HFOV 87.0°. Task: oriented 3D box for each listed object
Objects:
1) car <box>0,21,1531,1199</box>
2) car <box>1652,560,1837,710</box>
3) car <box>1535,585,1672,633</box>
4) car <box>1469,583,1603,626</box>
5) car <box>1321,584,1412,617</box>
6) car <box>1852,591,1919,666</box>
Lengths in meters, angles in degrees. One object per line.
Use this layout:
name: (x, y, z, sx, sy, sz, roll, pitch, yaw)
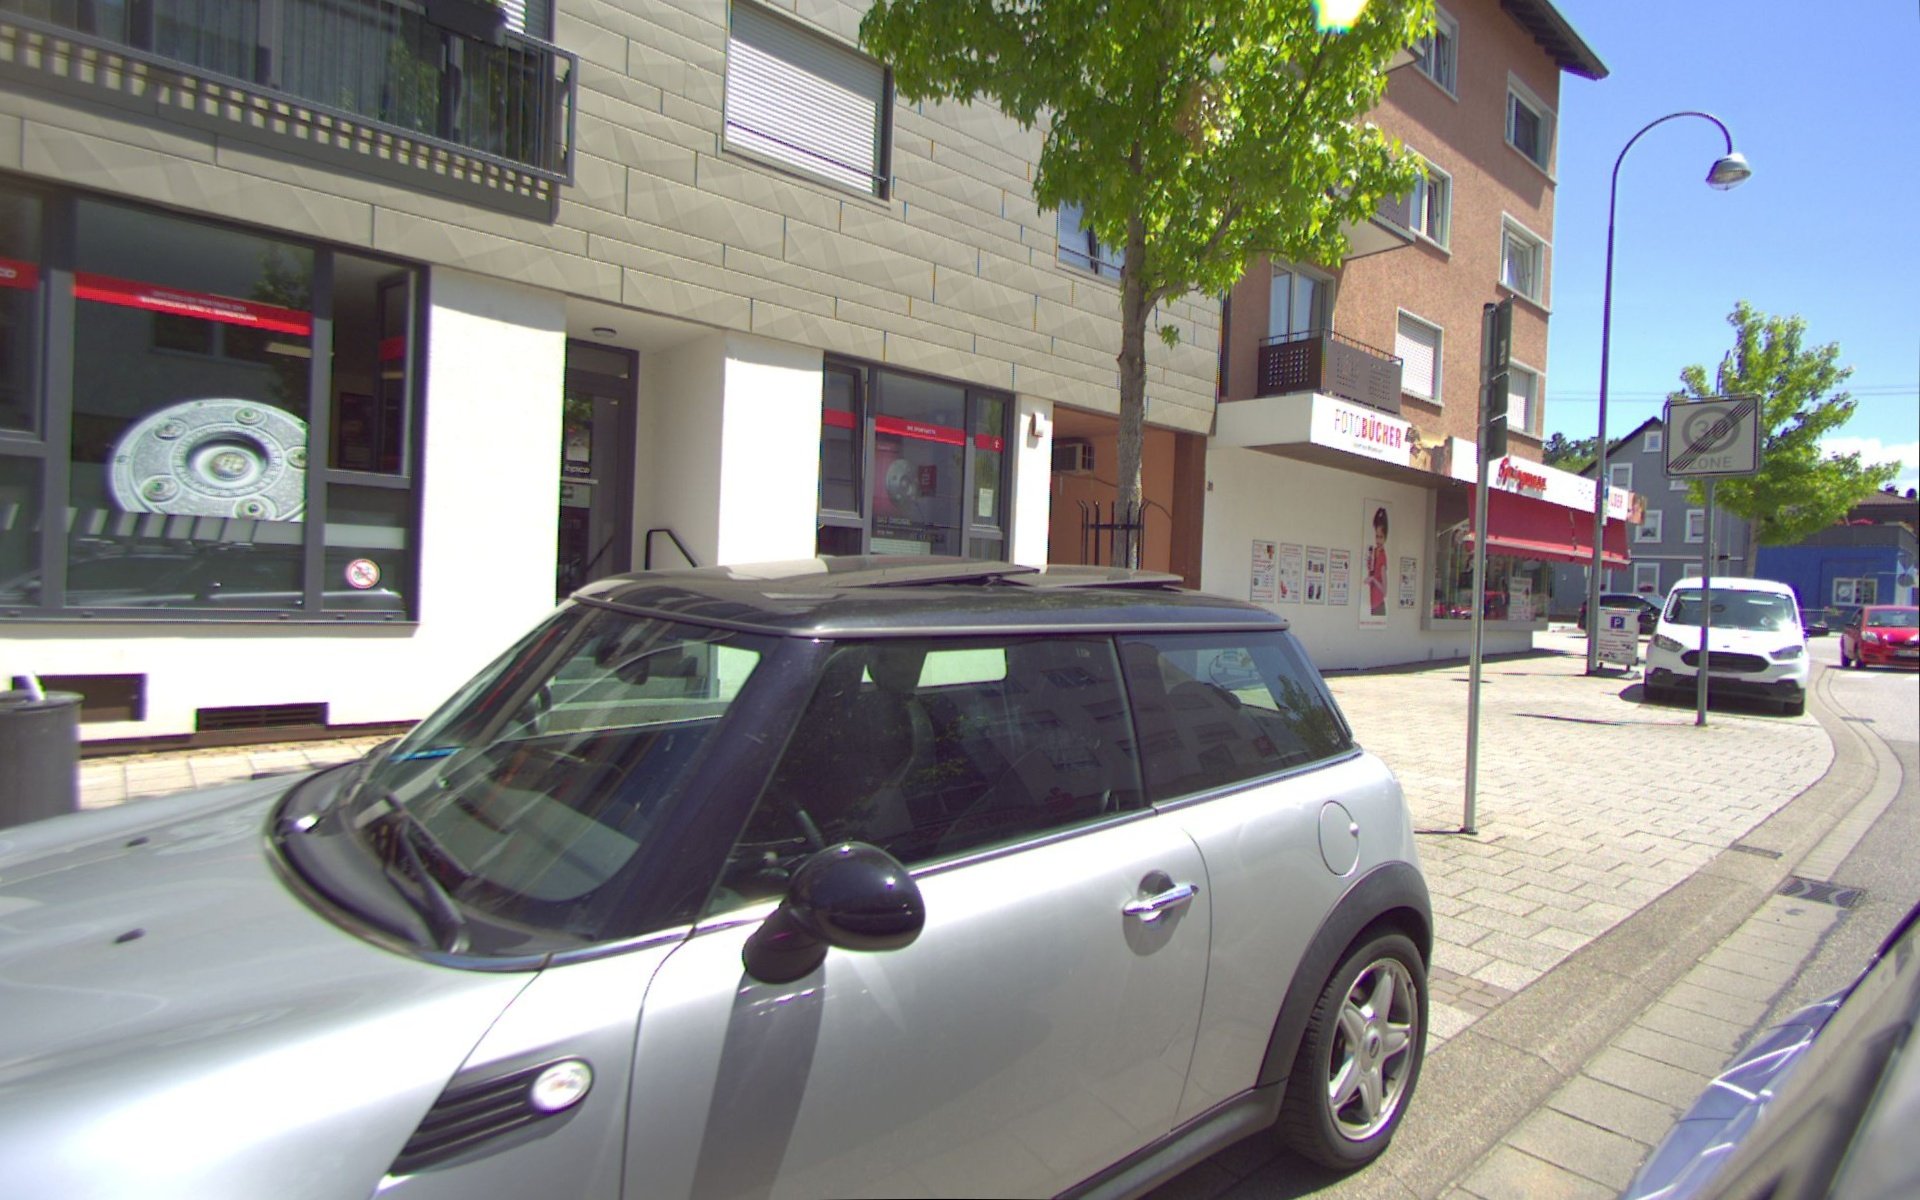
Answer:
car: (-0.338, 0.317, 2.244, 3.773, 1.578, 1.625, 0, 1, -41)
car: (10.833, 0.385, 14.016, 1.744, 1.745, 3.855, 3, 2, 39)
car: (24.224, 0.317, 38.219, 1.772, 1.584, 3.995, 4, 0, -41)
car: (23.959, 0.152, 42.222, 1.966, 1.709, 4.518, 0, 1, -42)
car: (21.979, -0.030, 54.771, 4.257, 1.603, 1.977, 1, 4, 34)
car: (22.190, 0.618, 23.559, 1.824, 1.552, 3.946, -3, -1, 38)
